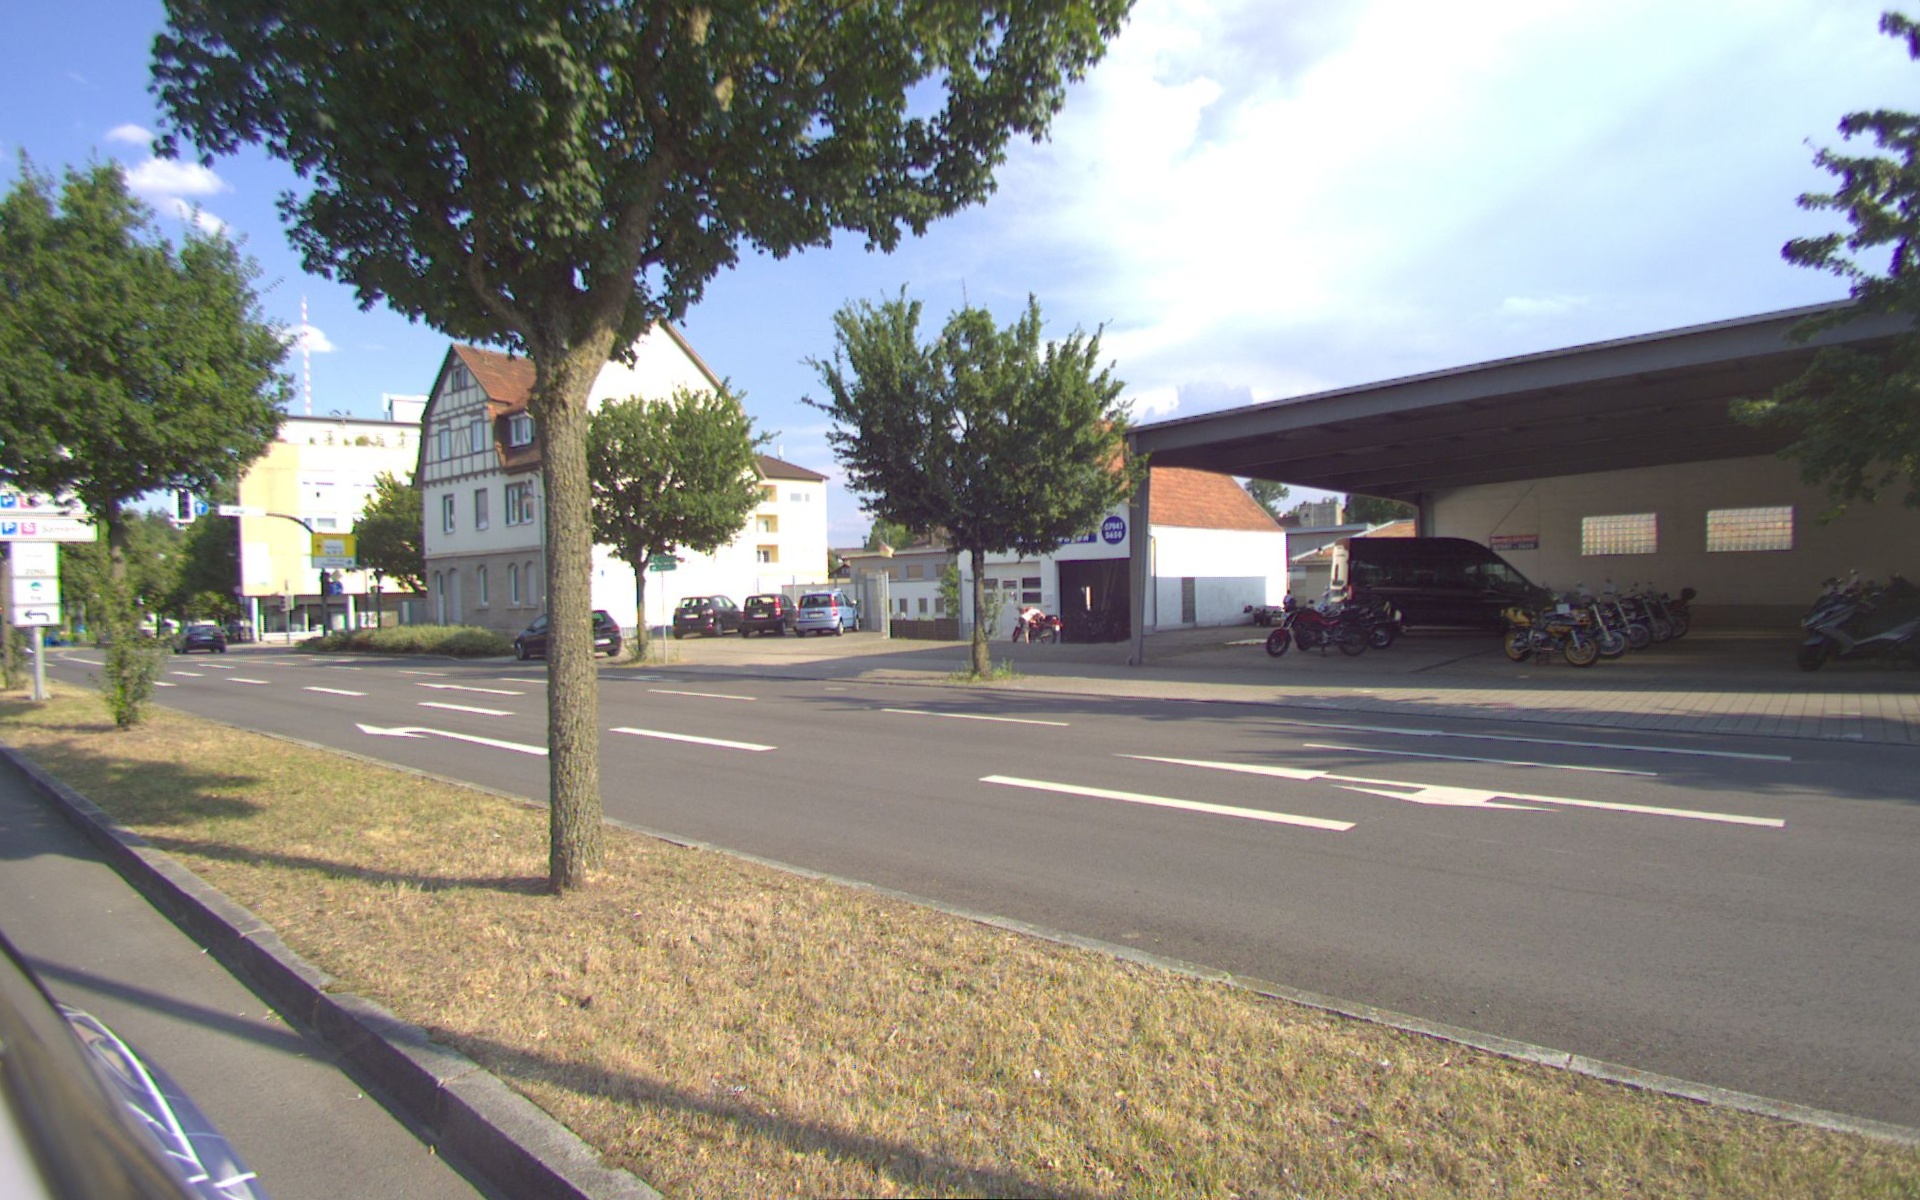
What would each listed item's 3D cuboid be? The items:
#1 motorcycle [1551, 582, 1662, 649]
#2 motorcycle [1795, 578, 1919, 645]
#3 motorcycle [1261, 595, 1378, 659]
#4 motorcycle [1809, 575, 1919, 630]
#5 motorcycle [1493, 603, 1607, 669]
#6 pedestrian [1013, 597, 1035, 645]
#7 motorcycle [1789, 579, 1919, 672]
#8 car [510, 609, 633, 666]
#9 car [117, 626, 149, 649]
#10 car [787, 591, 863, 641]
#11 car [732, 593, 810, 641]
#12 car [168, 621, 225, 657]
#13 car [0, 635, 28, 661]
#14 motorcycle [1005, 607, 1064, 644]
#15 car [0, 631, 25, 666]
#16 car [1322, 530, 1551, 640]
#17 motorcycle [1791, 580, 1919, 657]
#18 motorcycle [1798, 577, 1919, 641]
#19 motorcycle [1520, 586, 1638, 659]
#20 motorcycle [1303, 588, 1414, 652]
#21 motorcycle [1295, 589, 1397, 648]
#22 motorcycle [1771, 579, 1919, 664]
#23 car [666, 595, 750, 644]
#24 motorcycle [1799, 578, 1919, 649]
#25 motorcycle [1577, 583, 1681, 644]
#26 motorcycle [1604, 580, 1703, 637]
[{"bbox_3d":[13.867,0.321,21.789,0.621,1.347,2.269,-1,0,-9],"label":"motorcycle"},{"bbox_3d":[19.037,0.253,21.309,2.103,1.306,0.628,-3,-1,18],"label":"motorcycle"},{"bbox_3d":[7.499,0.557,21.181,2.202,1.290,0.629,-1,0,11],"label":"motorcycle"},{"bbox_3d":[23.737,0.070,26.540,2.103,1.306,0.628,-3,-1,18],"label":"motorcycle"},{"bbox_3d":[10.533,0.615,18.172,0.621,1.095,2.038,-1,0,-7],"label":"motorcycle"},{"bbox_3d":[2.076,0.671,32.786,0.485,1.530,0.496,-1,0,41],"label":"pedestrian"},{"bbox_3d":[13.863,0.372,15.136,2.103,1.306,0.628,-3,-1,18],"label":"motorcycle"},{"bbox_3d":[-11.597,1.075,30.100,3.823,1.462,1.795,-1,2,42],"label":"car"},{"bbox_3d":[-65.313,2.928,79.951,1.753,1.706,4.009,-1,0,-36],"label":"car"},{"bbox_3d":[-4.678,0.515,35.700,1.797,1.512,3.819,-3,2,5],"label":"car"},{"bbox_3d":[-6.917,0.581,37.330,1.797,1.512,3.819,-3,2,5],"label":"car"},{"bbox_3d":[-38.594,1.937,51.119,4.002,1.706,1.757,-1,0,45],"label":"car"},{"bbox_3d":[-56.933,2.826,58.389,1.775,1.480,4.332,-1,0,28],"label":"car"},{"bbox_3d":[2.438,0.834,33.232,1.974,1.194,0.577,-1,0,41],"label":"motorcycle"},{"bbox_3d":[-48.450,2.428,49.247,1.775,1.687,3.971,-1,0,22],"label":"car"},{"bbox_3d":[12.869,-0.382,27.649,5.221,2.773,1.996,-1,0,7],"label":"car"},{"bbox_3d":[16.533,0.337,18.368,2.103,1.306,0.628,-3,-1,18],"label":"motorcycle"},{"bbox_3d":[20.231,0.204,22.663,2.103,1.306,0.628,-3,-1,18],"label":"motorcycle"},{"bbox_3d":[12.161,0.434,19.976,0.621,1.347,2.269,-1,0,-9],"label":"motorcycle"},{"bbox_3d":[8.959,0.446,22.825,2.198,1.372,0.630,-1,0,5],"label":"motorcycle"},{"bbox_3d":[9.382,0.448,24.628,2.198,1.372,0.630,-1,0,5],"label":"motorcycle"},{"bbox_3d":[14.915,0.358,16.796,2.103,1.306,0.628,-3,-1,18],"label":"motorcycle"},{"bbox_3d":[-9.318,0.685,37.723,1.797,1.512,3.819,-3,2,5],"label":"car"},{"bbox_3d":[18.047,0.266,20.008,2.103,1.306,0.628,-3,-1,18],"label":"motorcycle"},{"bbox_3d":[15.540,0.299,23.599,0.621,1.347,2.269,-1,0,-9],"label":"motorcycle"},{"bbox_3d":[17.294,0.217,25.323,0.621,1.347,2.269,-1,0,-9],"label":"motorcycle"}]
